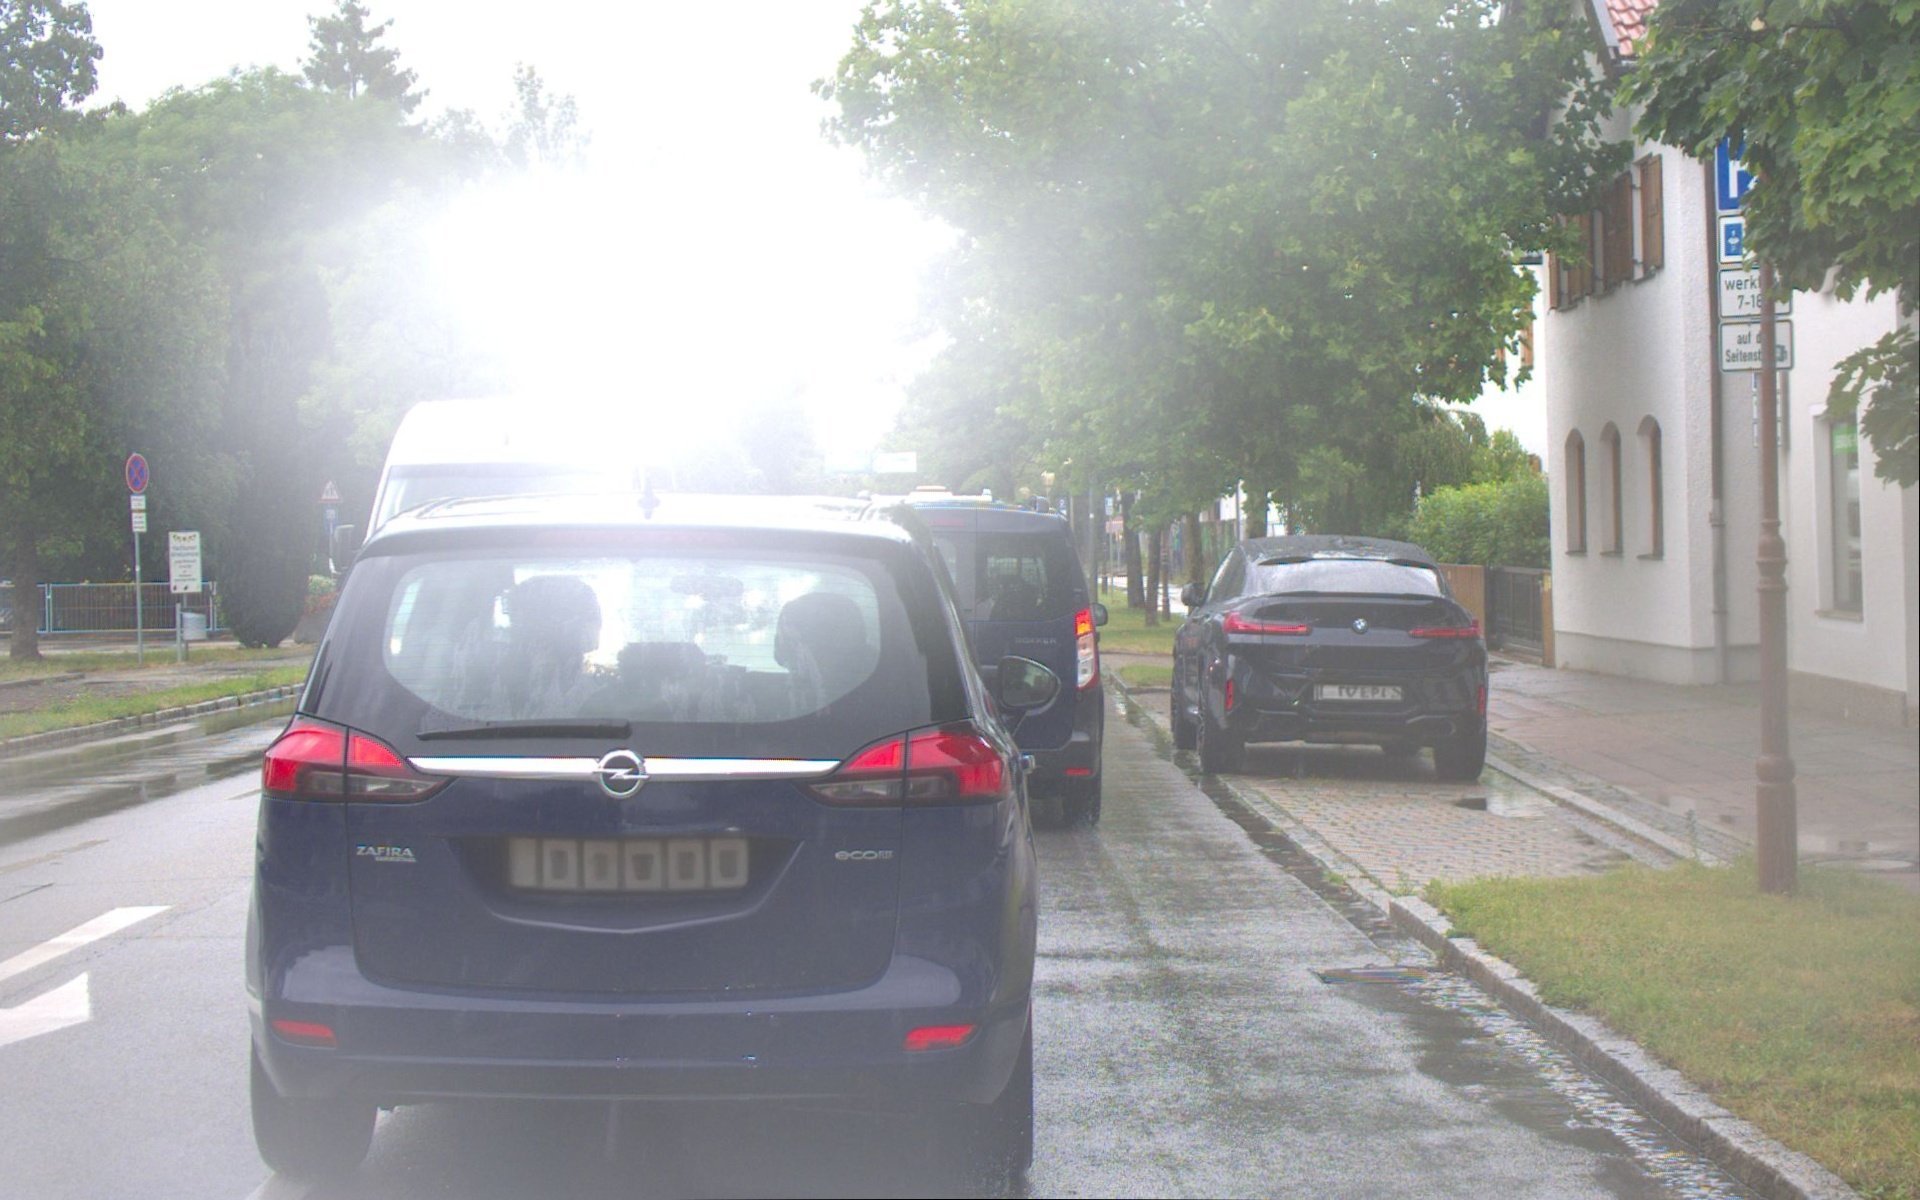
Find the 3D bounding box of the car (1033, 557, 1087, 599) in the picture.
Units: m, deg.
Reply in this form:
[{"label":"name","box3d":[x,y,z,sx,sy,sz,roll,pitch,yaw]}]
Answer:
[{"label":"car","box3d":[3.260,-0.715,112.964,1.630,1.373,3.623,0,0,0]}]

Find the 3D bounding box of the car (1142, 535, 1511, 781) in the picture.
[{"label":"car","box3d":[2.481,0.359,24.253,2.117,1.576,3.936,1,0,-1]}]

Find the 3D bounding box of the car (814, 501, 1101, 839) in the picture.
[{"label":"car","box3d":[-0.021,0.349,19.659,1.500,1.770,3.112,0,1,0]}]

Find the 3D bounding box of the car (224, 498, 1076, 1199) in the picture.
[{"label":"car","box3d":[-0.655,0.565,8.993,1.768,1.599,3.663,0,1,0]}]

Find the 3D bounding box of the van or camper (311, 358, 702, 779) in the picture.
[{"label":"van or camper","box3d":[-3.182,-0.249,25.490,2.094,2.698,6.269,-1,1,-1]}]

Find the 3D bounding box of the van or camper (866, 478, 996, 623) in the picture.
[{"label":"van or camper","box3d":[-0.546,-0.958,66.468,2.360,2.656,5.372,-1,1,0]}]

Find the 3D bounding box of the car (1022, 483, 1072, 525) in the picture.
[{"label":"car","box3d":[3.084,-3.389,122.194,1.630,1.373,3.623,-2,1,0]}]
